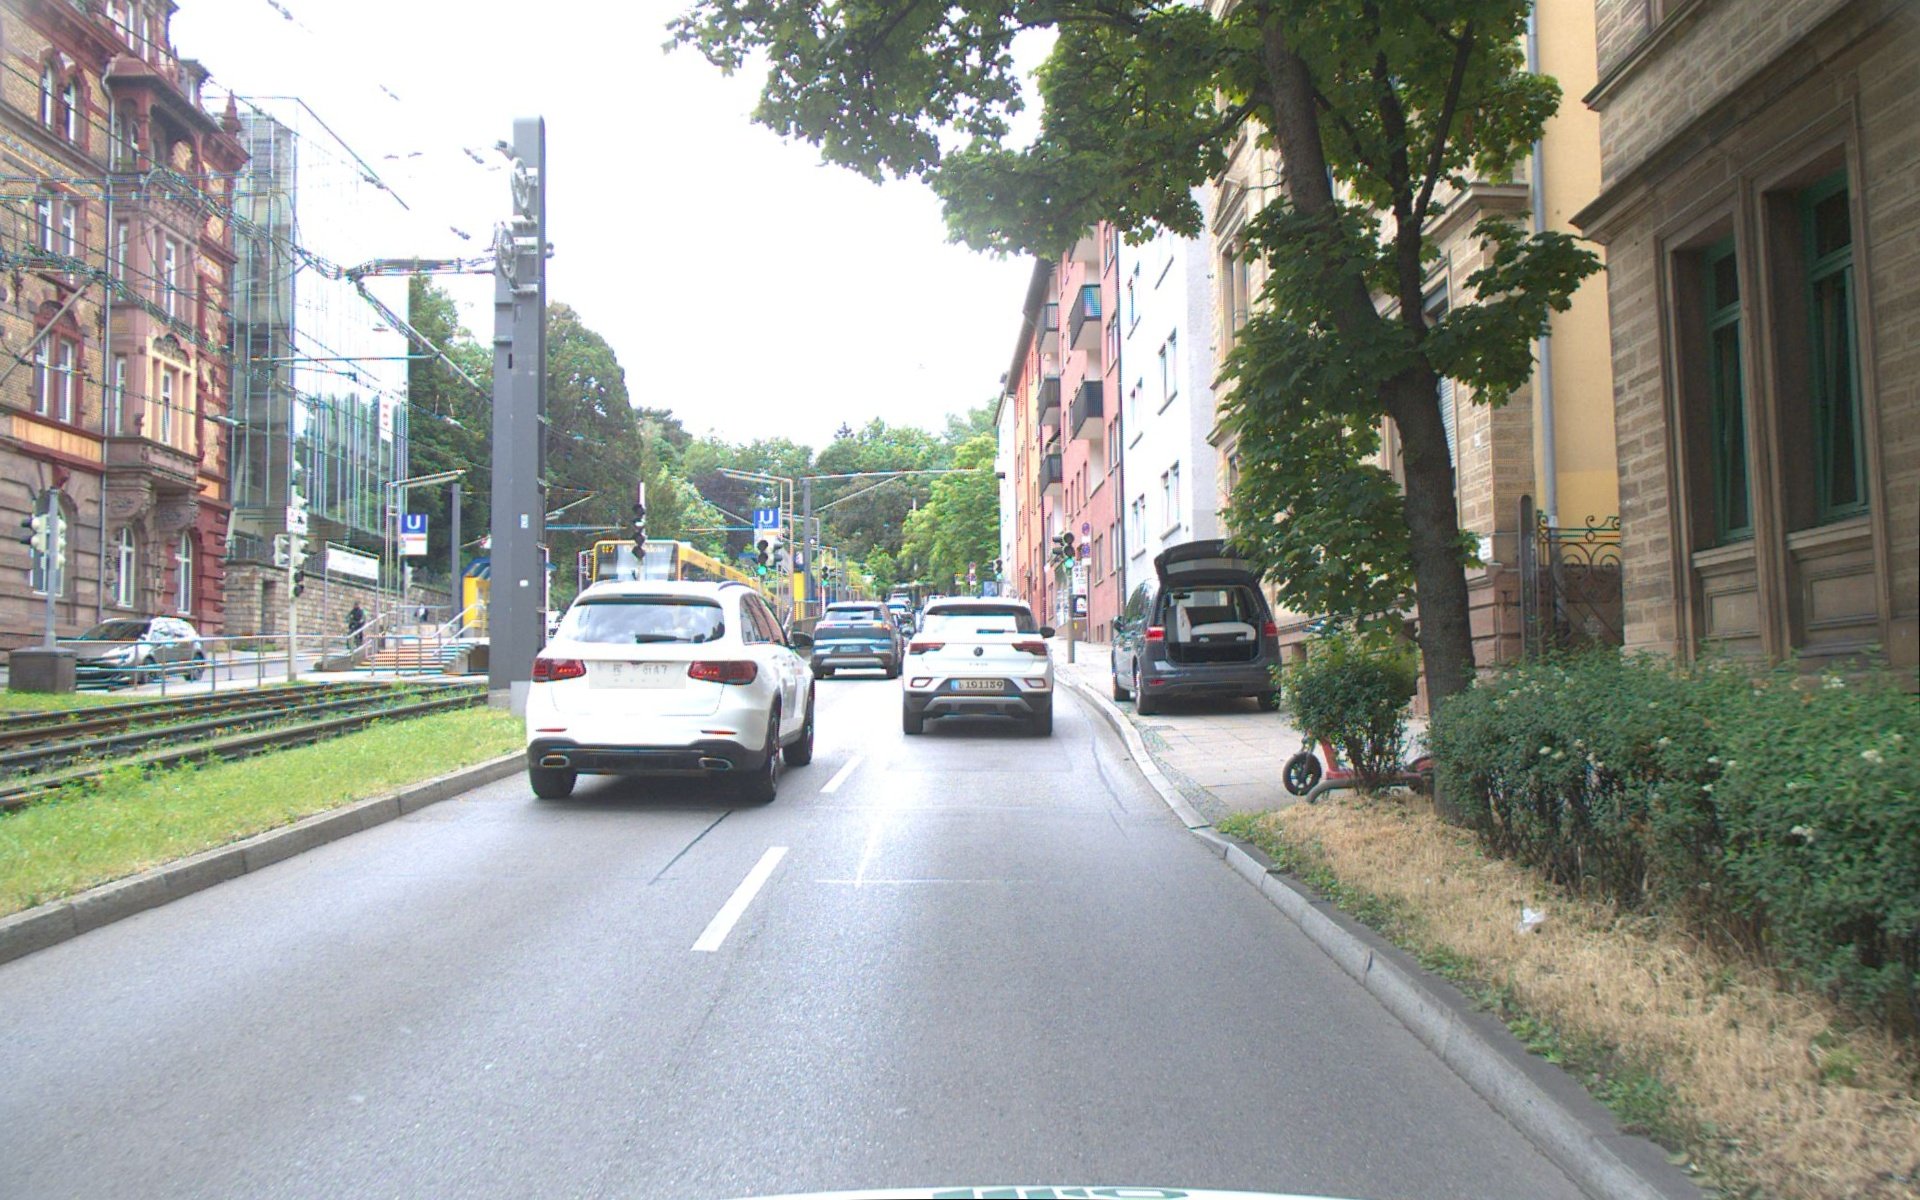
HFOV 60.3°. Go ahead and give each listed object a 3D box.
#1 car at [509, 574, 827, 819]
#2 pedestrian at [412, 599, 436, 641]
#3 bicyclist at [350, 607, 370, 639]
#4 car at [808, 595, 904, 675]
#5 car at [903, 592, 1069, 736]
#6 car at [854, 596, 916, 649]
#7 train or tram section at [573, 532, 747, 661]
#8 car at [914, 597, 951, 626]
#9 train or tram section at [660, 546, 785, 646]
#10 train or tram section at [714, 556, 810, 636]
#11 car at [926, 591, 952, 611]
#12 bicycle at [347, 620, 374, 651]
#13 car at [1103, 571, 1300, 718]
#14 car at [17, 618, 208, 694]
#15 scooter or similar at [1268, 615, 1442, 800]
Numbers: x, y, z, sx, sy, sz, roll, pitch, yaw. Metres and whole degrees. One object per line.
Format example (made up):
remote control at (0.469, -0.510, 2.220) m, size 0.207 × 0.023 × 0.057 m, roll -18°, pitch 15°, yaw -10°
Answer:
car at (-2.229, 0.674, 13.907) m, size 1.798 × 1.696 × 4.671 m, roll 1°, pitch 0°, yaw 0°
pedestrian at (-23.315, 0.864, 71.950) m, size 0.792 × 1.786 × 0.816 m, roll -1°, pitch 0°, yaw -1°
bicyclist at (-23.034, 0.873, 63.531) m, size 0.508 × 1.212 × 0.655 m, roll -1°, pitch 0°, yaw -1°
car at (-2.130, 0.696, 34.824) m, size 1.798 × 1.573 × 4.192 m, roll 1°, pitch 0°, yaw -1°
car at (0.220, 0.704, 20.366) m, size 1.799 × 1.573 × 4.191 m, roll 1°, pitch 0°, yaw -2°
car at (-2.315, 0.667, 51.733) m, size 1.798 × 1.573 × 4.192 m, roll 1°, pitch 0°, yaw -1°
train or tram section at (-8.873, -0.101, 50.856) m, size 2.935 × 3.407 × 13.437 m, roll -1°, pitch 0°, yaw 0°
car at (-1.574, 0.630, 93.902) m, size 2.026 × 1.573 × 4.192 m, roll 1°, pitch 0°, yaw -1°
train or tram section at (-8.988, -0.151, 64.330) m, size 2.935 × 3.407 × 13.528 m, roll -1°, pitch 0°, yaw 0°
train or tram section at (-9.111, -0.196, 77.837) m, size 2.935 × 3.407 × 13.437 m, roll -1°, pitch 0°, yaw 0°
car at (-1.719, 0.053, 132.001) m, size 2.026 × 1.573 × 4.192 m, roll 1°, pitch 0°, yaw -1°
bicycle at (-23.028, 1.345, 63.523) m, size 0.561 × 1.163 × 1.303 m, roll -1°, pitch 0°, yaw 0°
car at (2.996, 0.516, 21.351) m, size 1.798 × 1.629 × 4.192 m, roll -3°, pitch 0°, yaw -1°
car at (-17.681, 1.128, 34.721) m, size 1.953 × 1.427 × 4.000 m, roll -1°, pitch 0°, yaw -1°
scooter or similar at (2.547, 0.688, 10.709) m, size 1.015 × 1.138 × 0.331 m, roll -2°, pitch 0°, yaw 5°
